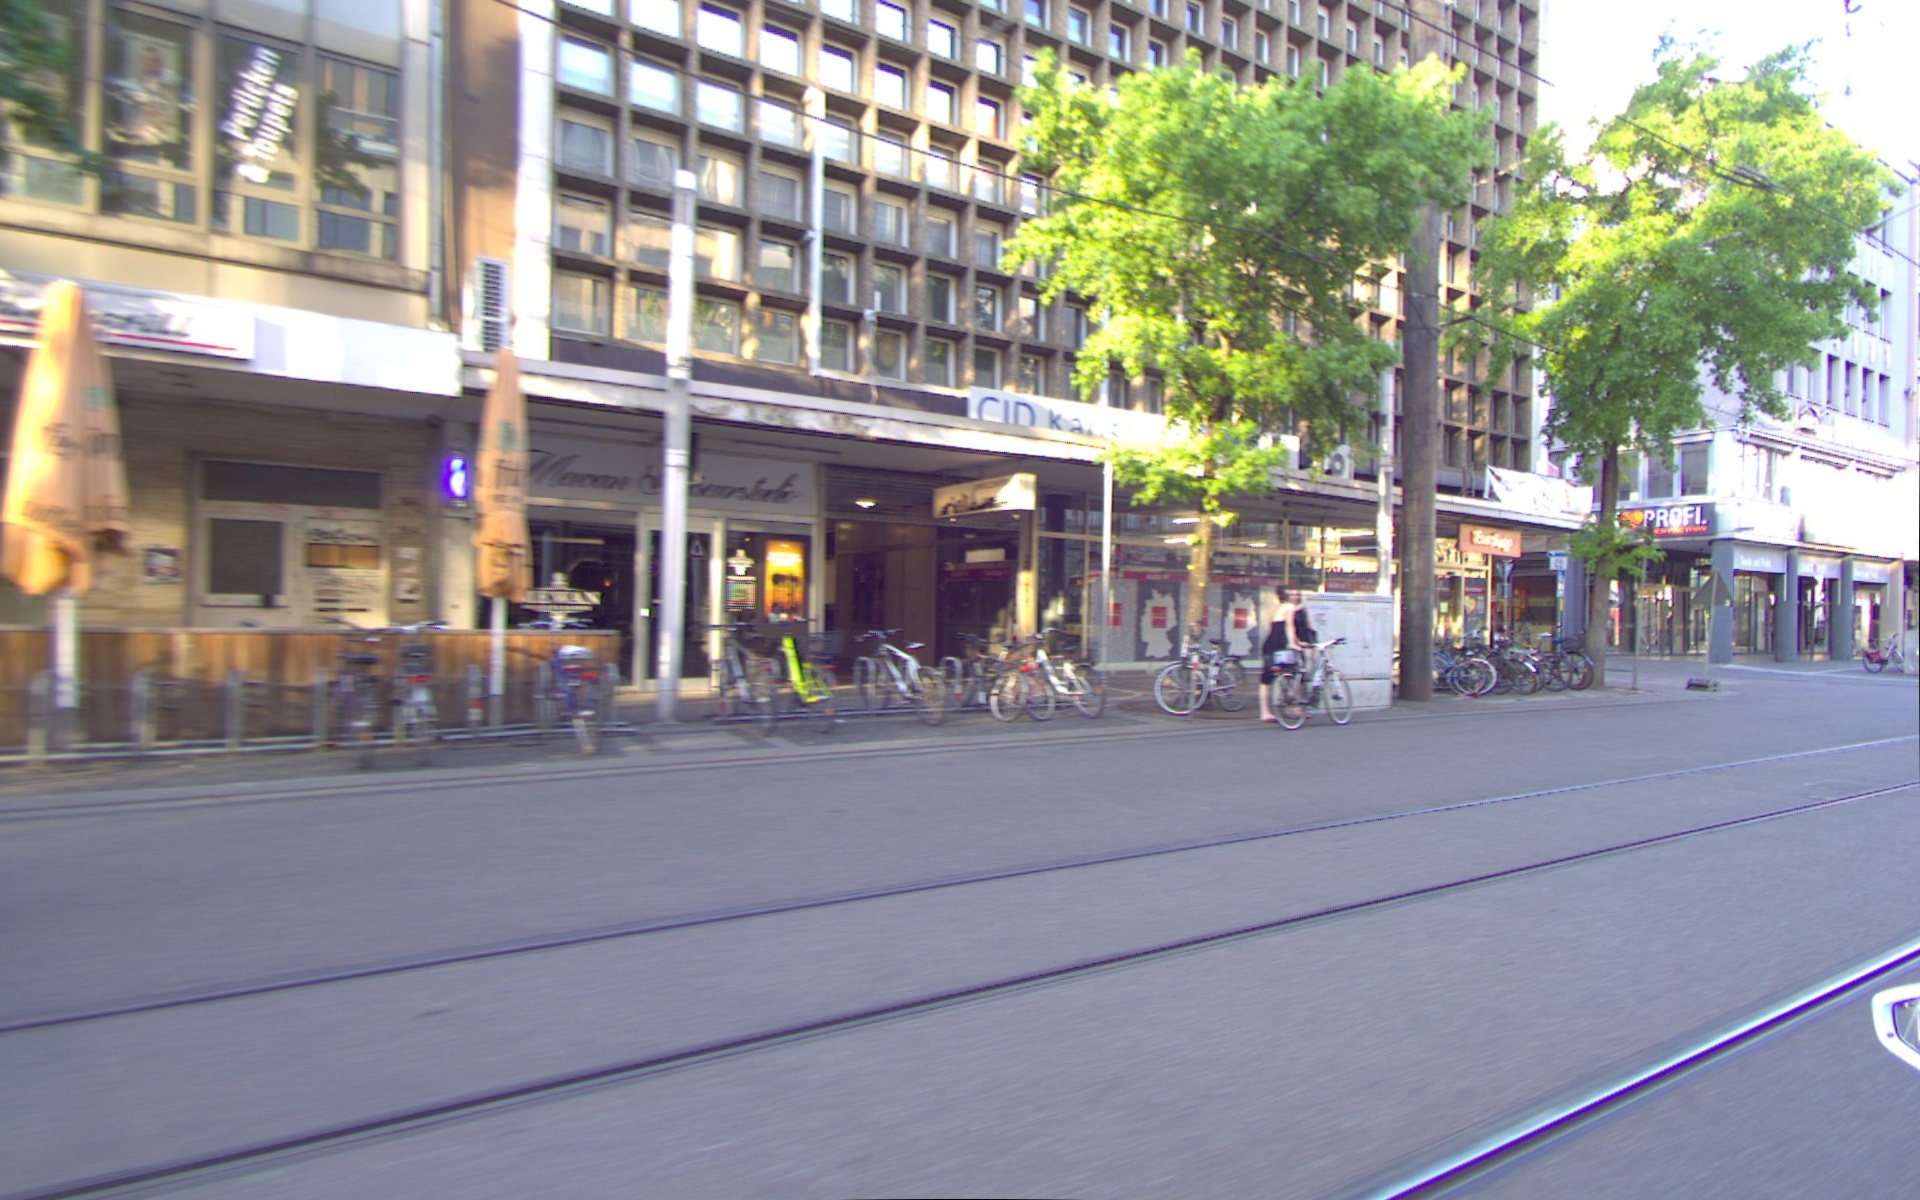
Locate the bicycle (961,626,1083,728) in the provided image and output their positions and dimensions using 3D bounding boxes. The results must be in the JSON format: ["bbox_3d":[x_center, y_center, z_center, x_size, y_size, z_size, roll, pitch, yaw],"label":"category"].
[{"bbox_3d":[0.741,0.917,12.550,0.485,1.085,1.759,0,2,-36],"label":"bicycle"}]

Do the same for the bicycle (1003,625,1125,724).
[{"bbox_3d":[1.294,0.918,12.881,0.485,1.085,1.759,0,2,-36],"label":"bicycle"}]

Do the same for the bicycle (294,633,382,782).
[{"bbox_3d":[-5.145,0.822,8.271,0.485,1.003,1.759,0,2,-36],"label":"bicycle"}]

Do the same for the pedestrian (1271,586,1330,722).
[{"bbox_3d":[4.435,0.690,13.102,0.525,1.722,0.603,1,1,-2],"label":"pedestrian"}]

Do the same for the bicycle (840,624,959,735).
[{"bbox_3d":[-0.730,0.874,11.611,0.485,1.085,1.759,0,2,-36],"label":"bicycle"}]

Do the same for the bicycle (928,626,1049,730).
[{"bbox_3d":[0.311,0.904,12.219,0.485,1.085,1.759,0,2,-36],"label":"bicycle"}]

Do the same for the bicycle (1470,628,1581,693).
[{"bbox_3d":[10.485,1.095,18.690,0.484,1.059,1.763,0,1,-30],"label":"bicycle"}]

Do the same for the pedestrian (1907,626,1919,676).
[{"bbox_3d":[27.839,1.471,28.897,0.671,1.453,0.556,1,-1,7],"label":"pedestrian"}]

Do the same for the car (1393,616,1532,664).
[{"bbox_3d":[17.722,1.396,35.591,1.781,1.530,4.095,2,-1,-33],"label":"car"}]

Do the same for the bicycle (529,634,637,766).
[{"bbox_3d":[-3.516,0.869,9.284,0.485,1.003,1.759,0,2,-36],"label":"bicycle"}]

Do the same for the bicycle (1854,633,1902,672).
[{"bbox_3d":[28.245,1.600,30.906,1.776,1.122,0.497,0,0,-27],"label":"bicycle"}]

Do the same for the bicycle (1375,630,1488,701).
[{"bbox_3d":[8.017,1.087,17.144,0.484,1.059,1.763,0,1,-30],"label":"bicycle"}]

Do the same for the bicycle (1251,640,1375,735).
[{"bbox_3d":[4.372,1.044,12.382,1.759,1.059,0.485,0,1,-35],"label":"bicycle"}]

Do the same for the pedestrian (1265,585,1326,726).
[{"bbox_3d":[4.202,0.681,12.612,0.525,1.722,0.603,1,1,-2],"label":"pedestrian"}]

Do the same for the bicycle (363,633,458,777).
[{"bbox_3d":[-4.705,0.835,8.553,0.485,1.003,1.759,0,2,-36],"label":"bicycle"}]

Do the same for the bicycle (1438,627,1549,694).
[{"bbox_3d":[9.594,1.069,18.137,0.484,1.059,1.763,0,1,-30],"label":"bicycle"}]

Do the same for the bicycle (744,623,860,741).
[{"bbox_3d":[-1.747,0.844,10.921,0.485,1.085,1.759,0,2,-36],"label":"bicycle"}]

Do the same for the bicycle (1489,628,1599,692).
[{"bbox_3d":[10.991,1.109,18.961,0.484,1.059,1.763,0,1,-30],"label":"bicycle"}]

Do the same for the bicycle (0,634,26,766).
[{"bbox_3d":[-7.294,0.773,6.888,0.481,0.979,1.772,2,1,-14],"label":"bicycle"}]

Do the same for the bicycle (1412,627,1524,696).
[{"bbox_3d":[8.914,1.049,17.692,0.484,1.059,1.763,0,1,-30],"label":"bicycle"}]

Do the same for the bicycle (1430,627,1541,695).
[{"bbox_3d":[9.388,1.063,18.013,0.484,1.059,1.763,0,1,-30],"label":"bicycle"}]

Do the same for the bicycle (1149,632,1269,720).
[{"bbox_3d":[3.319,0.978,13.318,1.759,1.059,0.485,0,1,-35],"label":"bicycle"}]

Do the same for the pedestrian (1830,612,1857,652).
[{"bbox_3d":[38.620,1.399,43.907,0.702,1.748,0.709,2,-1,-33],"label":"pedestrian"}]

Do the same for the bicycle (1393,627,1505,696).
[{"bbox_3d":[8.433,1.035,17.396,0.484,1.059,1.763,0,1,-30],"label":"bicycle"}]

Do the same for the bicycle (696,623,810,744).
[{"bbox_3d":[-2.223,0.830,10.603,0.485,1.085,1.759,0,2,-36],"label":"bicycle"}]
